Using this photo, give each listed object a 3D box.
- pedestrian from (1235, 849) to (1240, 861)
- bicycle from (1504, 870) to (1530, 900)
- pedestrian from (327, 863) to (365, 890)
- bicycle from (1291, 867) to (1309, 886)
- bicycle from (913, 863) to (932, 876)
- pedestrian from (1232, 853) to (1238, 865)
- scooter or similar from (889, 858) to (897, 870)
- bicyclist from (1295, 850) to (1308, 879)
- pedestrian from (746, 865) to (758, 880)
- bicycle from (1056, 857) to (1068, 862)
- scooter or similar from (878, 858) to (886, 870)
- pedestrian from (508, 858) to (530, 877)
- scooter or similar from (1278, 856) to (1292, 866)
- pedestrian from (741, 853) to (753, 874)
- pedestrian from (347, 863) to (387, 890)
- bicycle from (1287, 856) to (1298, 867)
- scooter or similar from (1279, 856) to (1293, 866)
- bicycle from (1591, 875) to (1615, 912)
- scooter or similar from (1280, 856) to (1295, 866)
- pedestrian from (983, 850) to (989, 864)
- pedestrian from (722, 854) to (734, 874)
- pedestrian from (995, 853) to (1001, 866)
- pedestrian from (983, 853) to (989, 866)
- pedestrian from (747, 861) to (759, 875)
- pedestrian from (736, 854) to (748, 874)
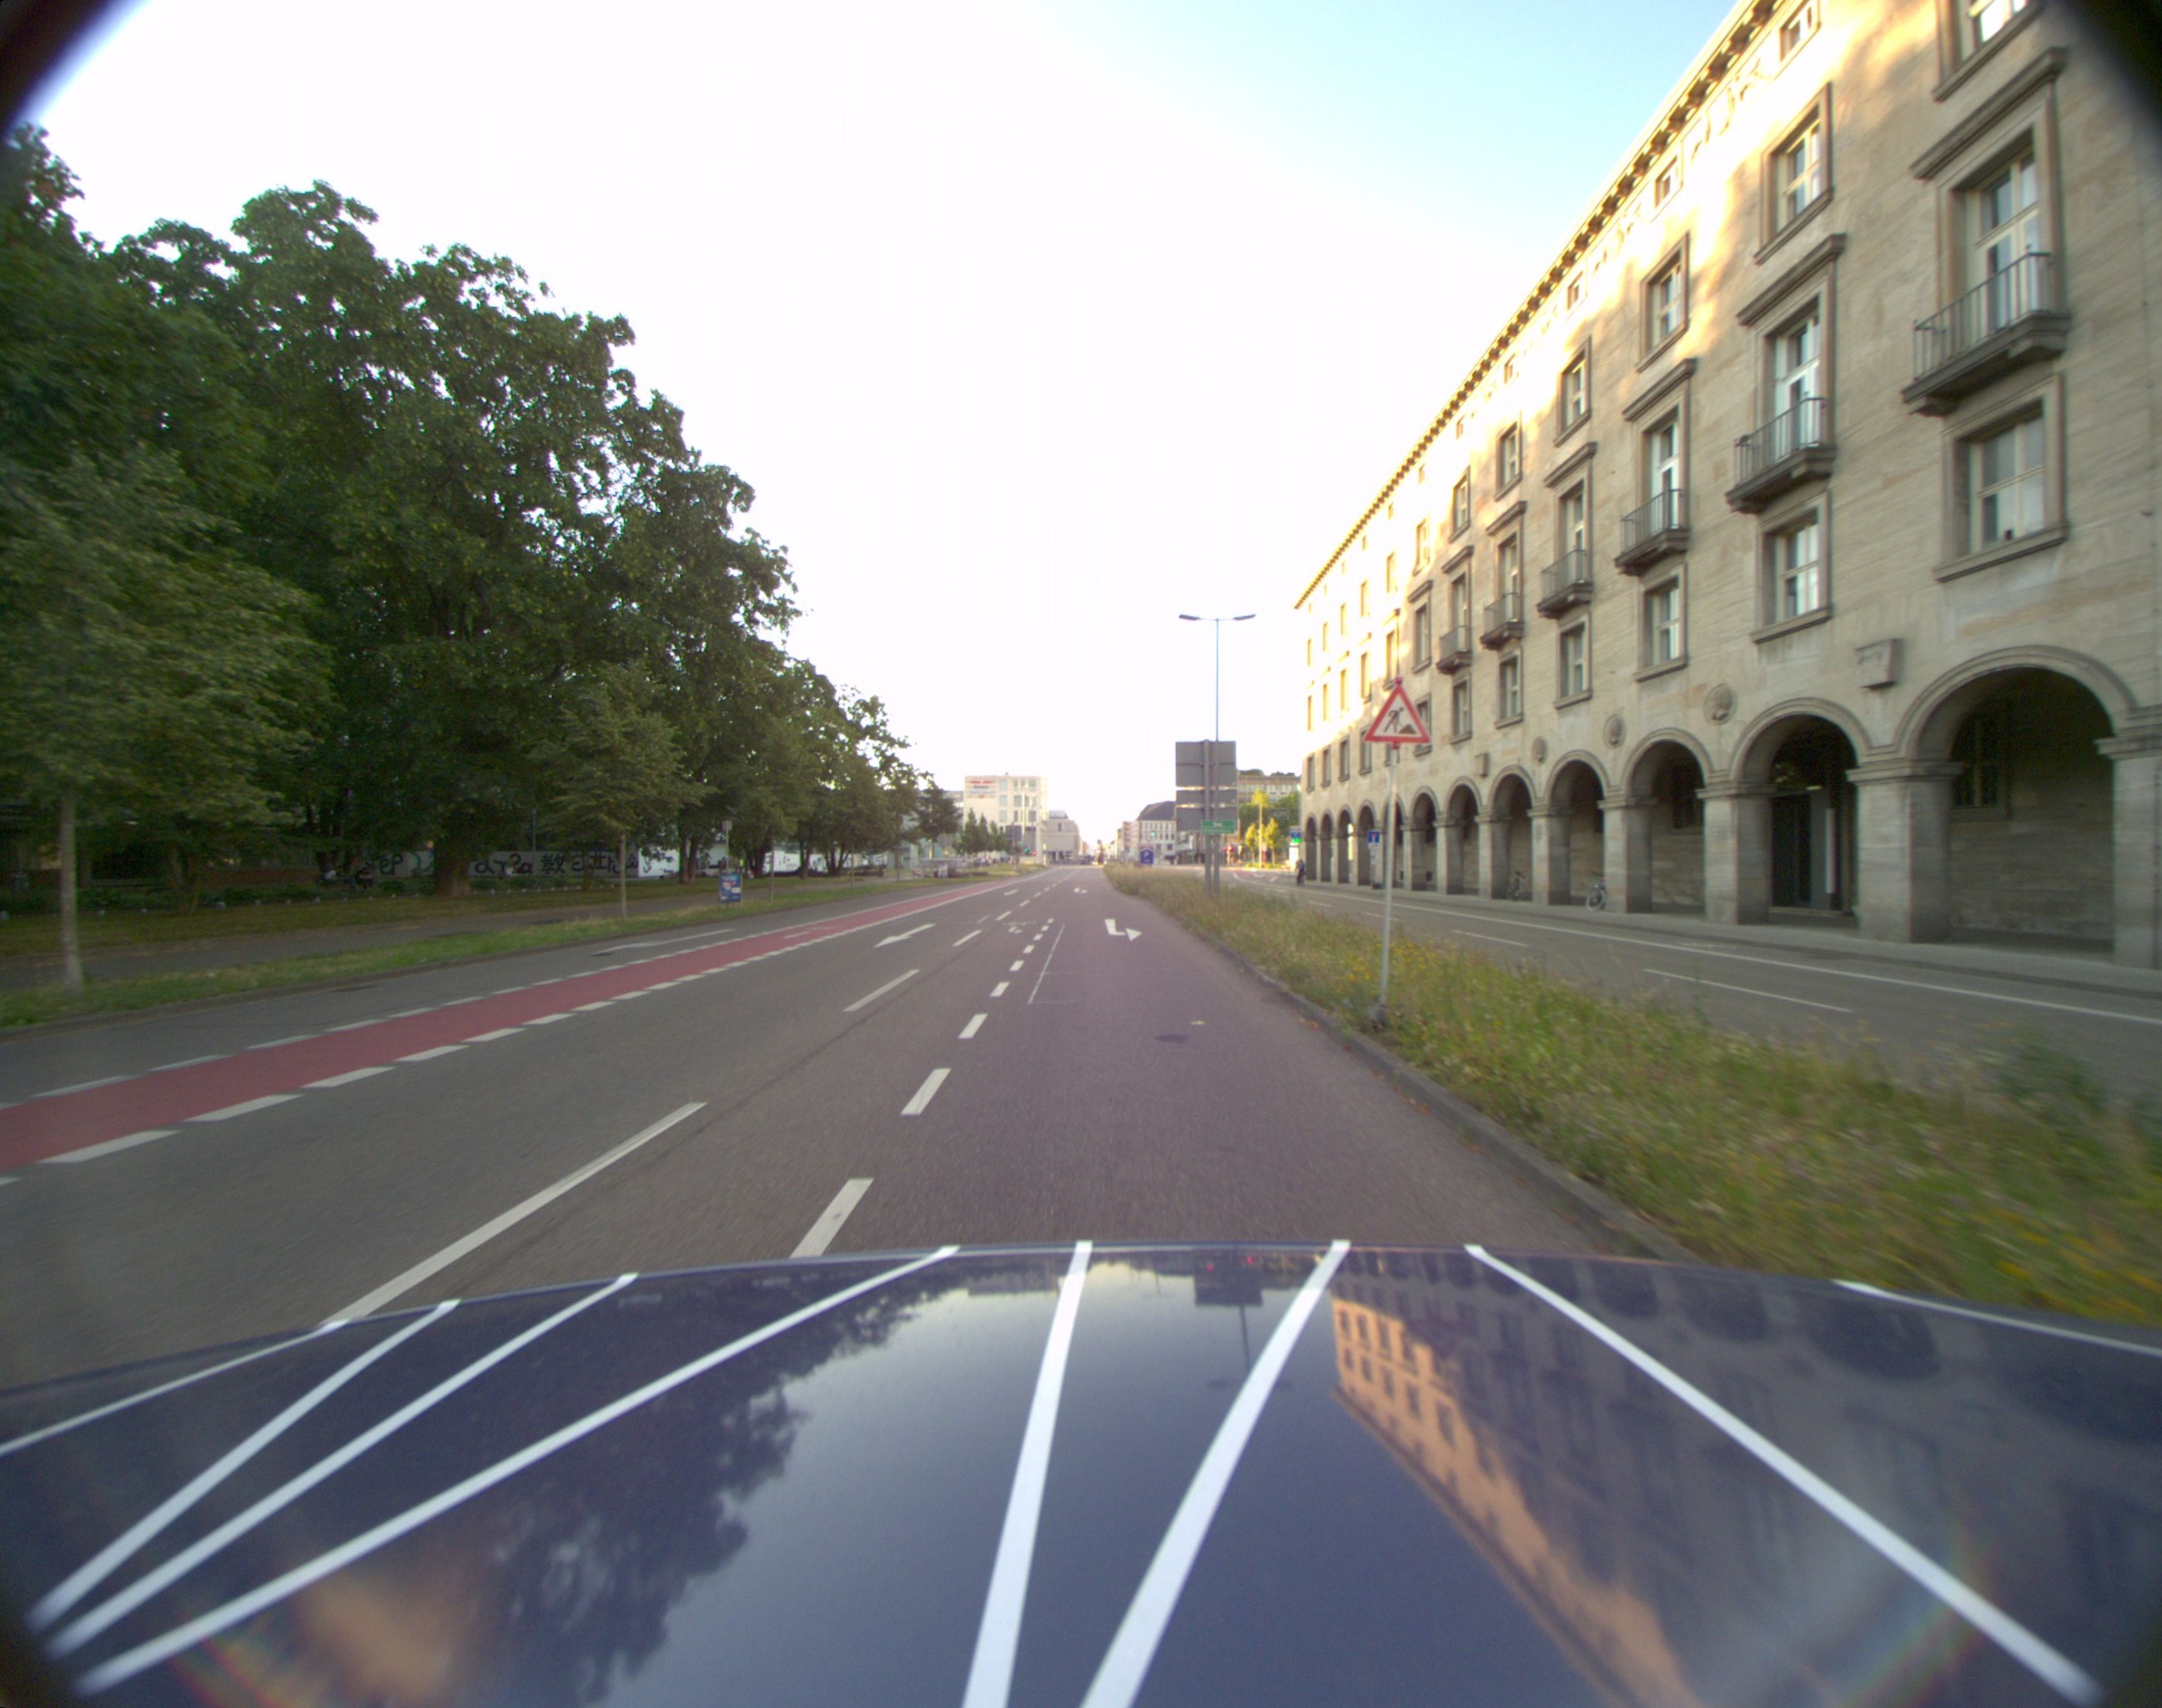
[{"bbox_3d":[25.541,0.222,123.713,0.661,1.921,0.648,0,0,3],"label":"pedestrian"},{"bbox_3d":[15.728,1.088,27.465,0.477,0.999,2.008,0,0,20],"label":"bicycle"},{"bbox_3d":[-34.904,1.073,36.080,1.134,1.253,0.726,0,0,4],"label":"pedestrian"},{"bbox_3d":[12.936,1.305,44.897,0.543,1.000,2.004,0,1,1],"label":"bicycle"},{"bbox_3d":[-12.434,1.234,59.746,0.494,1.000,1.901,3,0,21],"label":"bicycle"},{"bbox_3d":[24.806,0.806,122.371,0.874,1.826,0.776,0,0,2],"label":"pedestrian"},{"bbox_3d":[-19.627,1.017,79.460,0.424,1.213,1.399,2,0,2],"label":"scooter or similar"},{"bbox_3d":[12.929,0.636,44.579,0.537,1.683,0.748,0,1,1],"label":"bicyclist"},{"bbox_3d":[-20.739,1.165,47.878,0.682,0.879,0.622,0,0,-22],"label":"pedestrian"},{"bbox_3d":[-4.507,1.258,184.345,2.804,1.209,0.765,0,0,11],"label":"bicycle"},{"bbox_3d":[-20.799,1.030,79.403,0.474,1.213,1.574,2,0,-5],"label":"scooter or similar"},{"bbox_3d":[-34.921,0.818,47.209,0.788,1.157,0.766,0,0,-4],"label":"pedestrian"},{"bbox_3d":[26.862,0.973,100.095,1.792,1.297,0.417,0,1,-5],"label":"scooter or similar"},{"bbox_3d":[-30.733,0.908,69.883,0.768,1.908,0.601,0,0,16],"label":"pedestrian"},{"bbox_3d":[-34.784,1.084,37.028,1.134,1.253,0.905,0,0,4],"label":"pedestrian"},{"bbox_3d":[27.045,0.927,97.165,0.619,1.316,2.509,0,0,-1],"label":"bicycle"},{"bbox_3d":[26.885,0.968,99.611,1.836,1.297,0.423,0,1,-5],"label":"scooter or similar"},{"bbox_3d":[15.416,1.150,22.432,0.477,0.999,2.009,0,0,37],"label":"bicycle"},{"bbox_3d":[26.913,0.962,99.169,1.841,1.297,0.423,0,1,-5],"label":"scooter or similar"},{"bbox_3d":[-13.394,0.400,107.172,0.644,1.922,0.619,0,1,3],"label":"pedestrian"},{"bbox_3d":[-32.773,0.892,70.542,0.768,1.845,0.601,0,0,16],"label":"pedestrian"},{"bbox_3d":[-11.660,0.774,106.816,0.644,1.922,0.619,0,0,1],"label":"pedestrian"},{"bbox_3d":[-14.040,0.837,112.265,0.644,1.922,0.619,0,0,3],"label":"pedestrian"},{"bbox_3d":[-20.443,0.868,47.328,0.682,0.879,0.592,0,0,-23],"label":"pedestrian"},{"bbox_3d":[-31.793,0.919,71.222,0.768,1.810,0.601,0,0,16],"label":"pedestrian"}]
